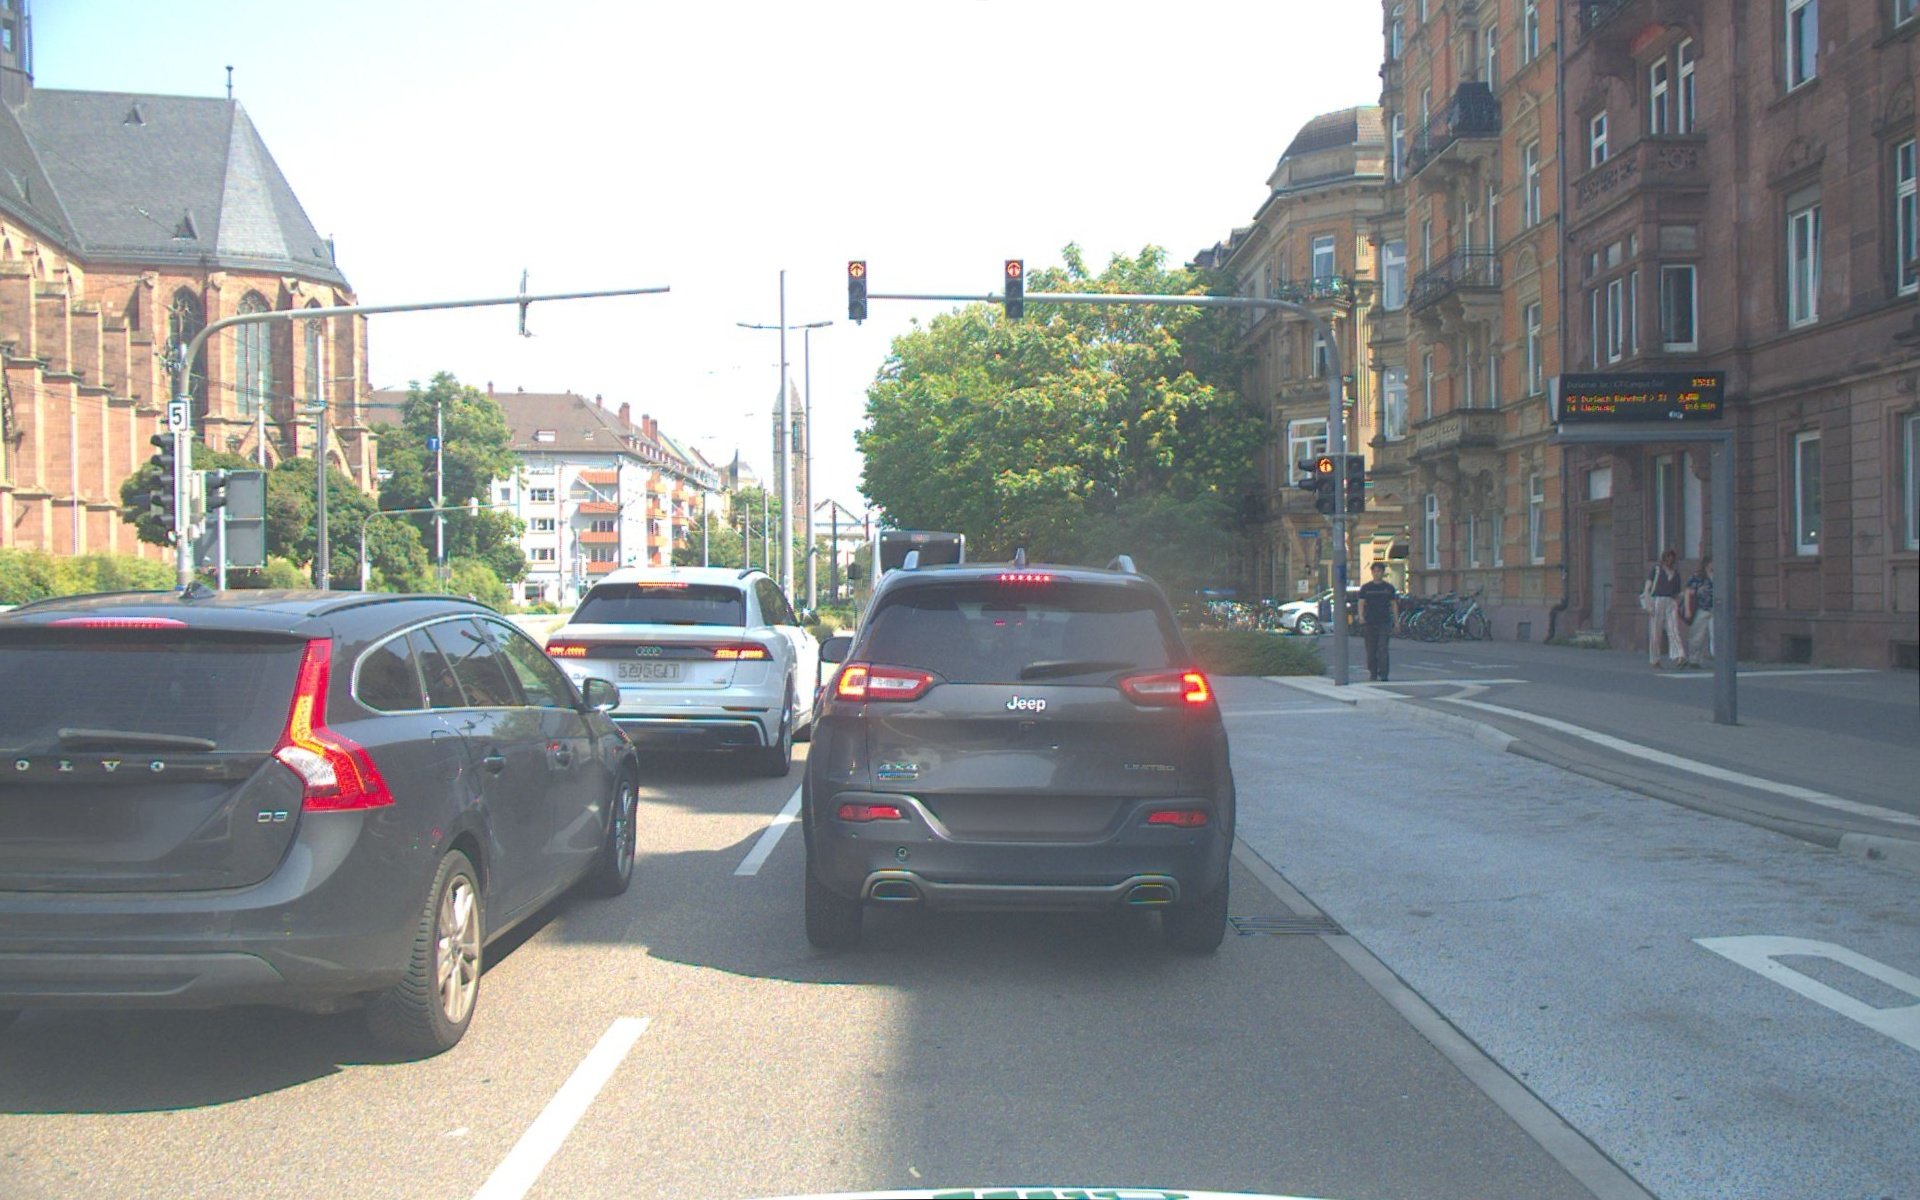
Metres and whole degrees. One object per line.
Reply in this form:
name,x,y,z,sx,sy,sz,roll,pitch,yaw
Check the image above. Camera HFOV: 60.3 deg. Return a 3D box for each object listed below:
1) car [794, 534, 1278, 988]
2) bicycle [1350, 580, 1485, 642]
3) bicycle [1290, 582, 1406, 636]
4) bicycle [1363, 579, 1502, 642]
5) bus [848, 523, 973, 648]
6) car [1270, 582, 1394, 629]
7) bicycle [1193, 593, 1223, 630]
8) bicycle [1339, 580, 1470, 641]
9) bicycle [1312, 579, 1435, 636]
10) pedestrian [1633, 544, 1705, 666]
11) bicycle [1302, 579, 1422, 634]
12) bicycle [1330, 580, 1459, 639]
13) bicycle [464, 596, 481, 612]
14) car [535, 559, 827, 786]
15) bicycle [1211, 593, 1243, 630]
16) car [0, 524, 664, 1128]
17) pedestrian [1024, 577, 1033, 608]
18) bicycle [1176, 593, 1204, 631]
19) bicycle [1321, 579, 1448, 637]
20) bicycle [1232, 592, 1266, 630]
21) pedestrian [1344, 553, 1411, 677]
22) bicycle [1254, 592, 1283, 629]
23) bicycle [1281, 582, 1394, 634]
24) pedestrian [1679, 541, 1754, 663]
car,0.300,0.586,8.348,1.795,1.680,4.308,1,0,0
bicycle,10.781,0.257,39.073,2.933,1.395,0.871,-1,0,-2
bicycle,10.615,0.235,45.297,2.943,1.397,0.947,-1,0,-2
bicycle,10.885,0.233,38.168,2.933,1.395,0.871,-1,0,-2
bus,-1.671,-0.369,48.691,2.691,3.161,11.939,-2,0,-6
car,12.947,0.183,57.679,3.858,1.547,1.680,-1,0,-8
bicycle,8.776,0.397,58.585,0.636,1.275,3.014,-1,0,1
bicycle,10.729,0.246,39.985,2.933,1.395,0.871,-1,0,-2
bicycle,10.722,0.192,42.971,2.943,1.397,0.947,-1,0,-2
pedestrian,10.759,0.073,25.133,0.700,1.807,0.847,-1,0,-2
bicycle,10.669,0.164,43.980,2.943,1.397,0.947,-1,0,-2
bicycle,10.739,0.230,40.932,2.933,1.395,0.871,-1,0,-2
bicycle,-26.932,0.231,91.351,0.444,0.874,1.476,-1,0,1
car,-2.254,0.520,14.481,1.863,1.680,4.308,0,0,-1
bicycle,9.461,0.388,58.594,0.717,1.275,3.014,-1,0,2
car,-2.422,0.603,6.668,1.712,1.642,4.308,1,0,-1
pedestrian,4.544,-0.478,109.644,0.518,2.049,0.532,-1,0,-3
bicycle,8.128,0.412,58.600,0.636,1.275,3.014,-1,0,1
bicycle,10.726,0.203,41.876,2.943,1.397,0.947,-1,0,-2
bicycle,10.234,0.374,58.620,0.747,1.275,3.014,-1,0,2
pedestrian,6.168,0.218,24.442,0.879,1.771,0.769,-2,0,15
bicycle,11.016,0.358,59.066,0.644,1.271,2.413,-1,0,2
bicycle,10.560,0.214,46.337,2.943,1.397,0.947,-1,0,-2
pedestrian,11.488,0.026,25.130,0.700,1.809,0.870,-1,0,-2
